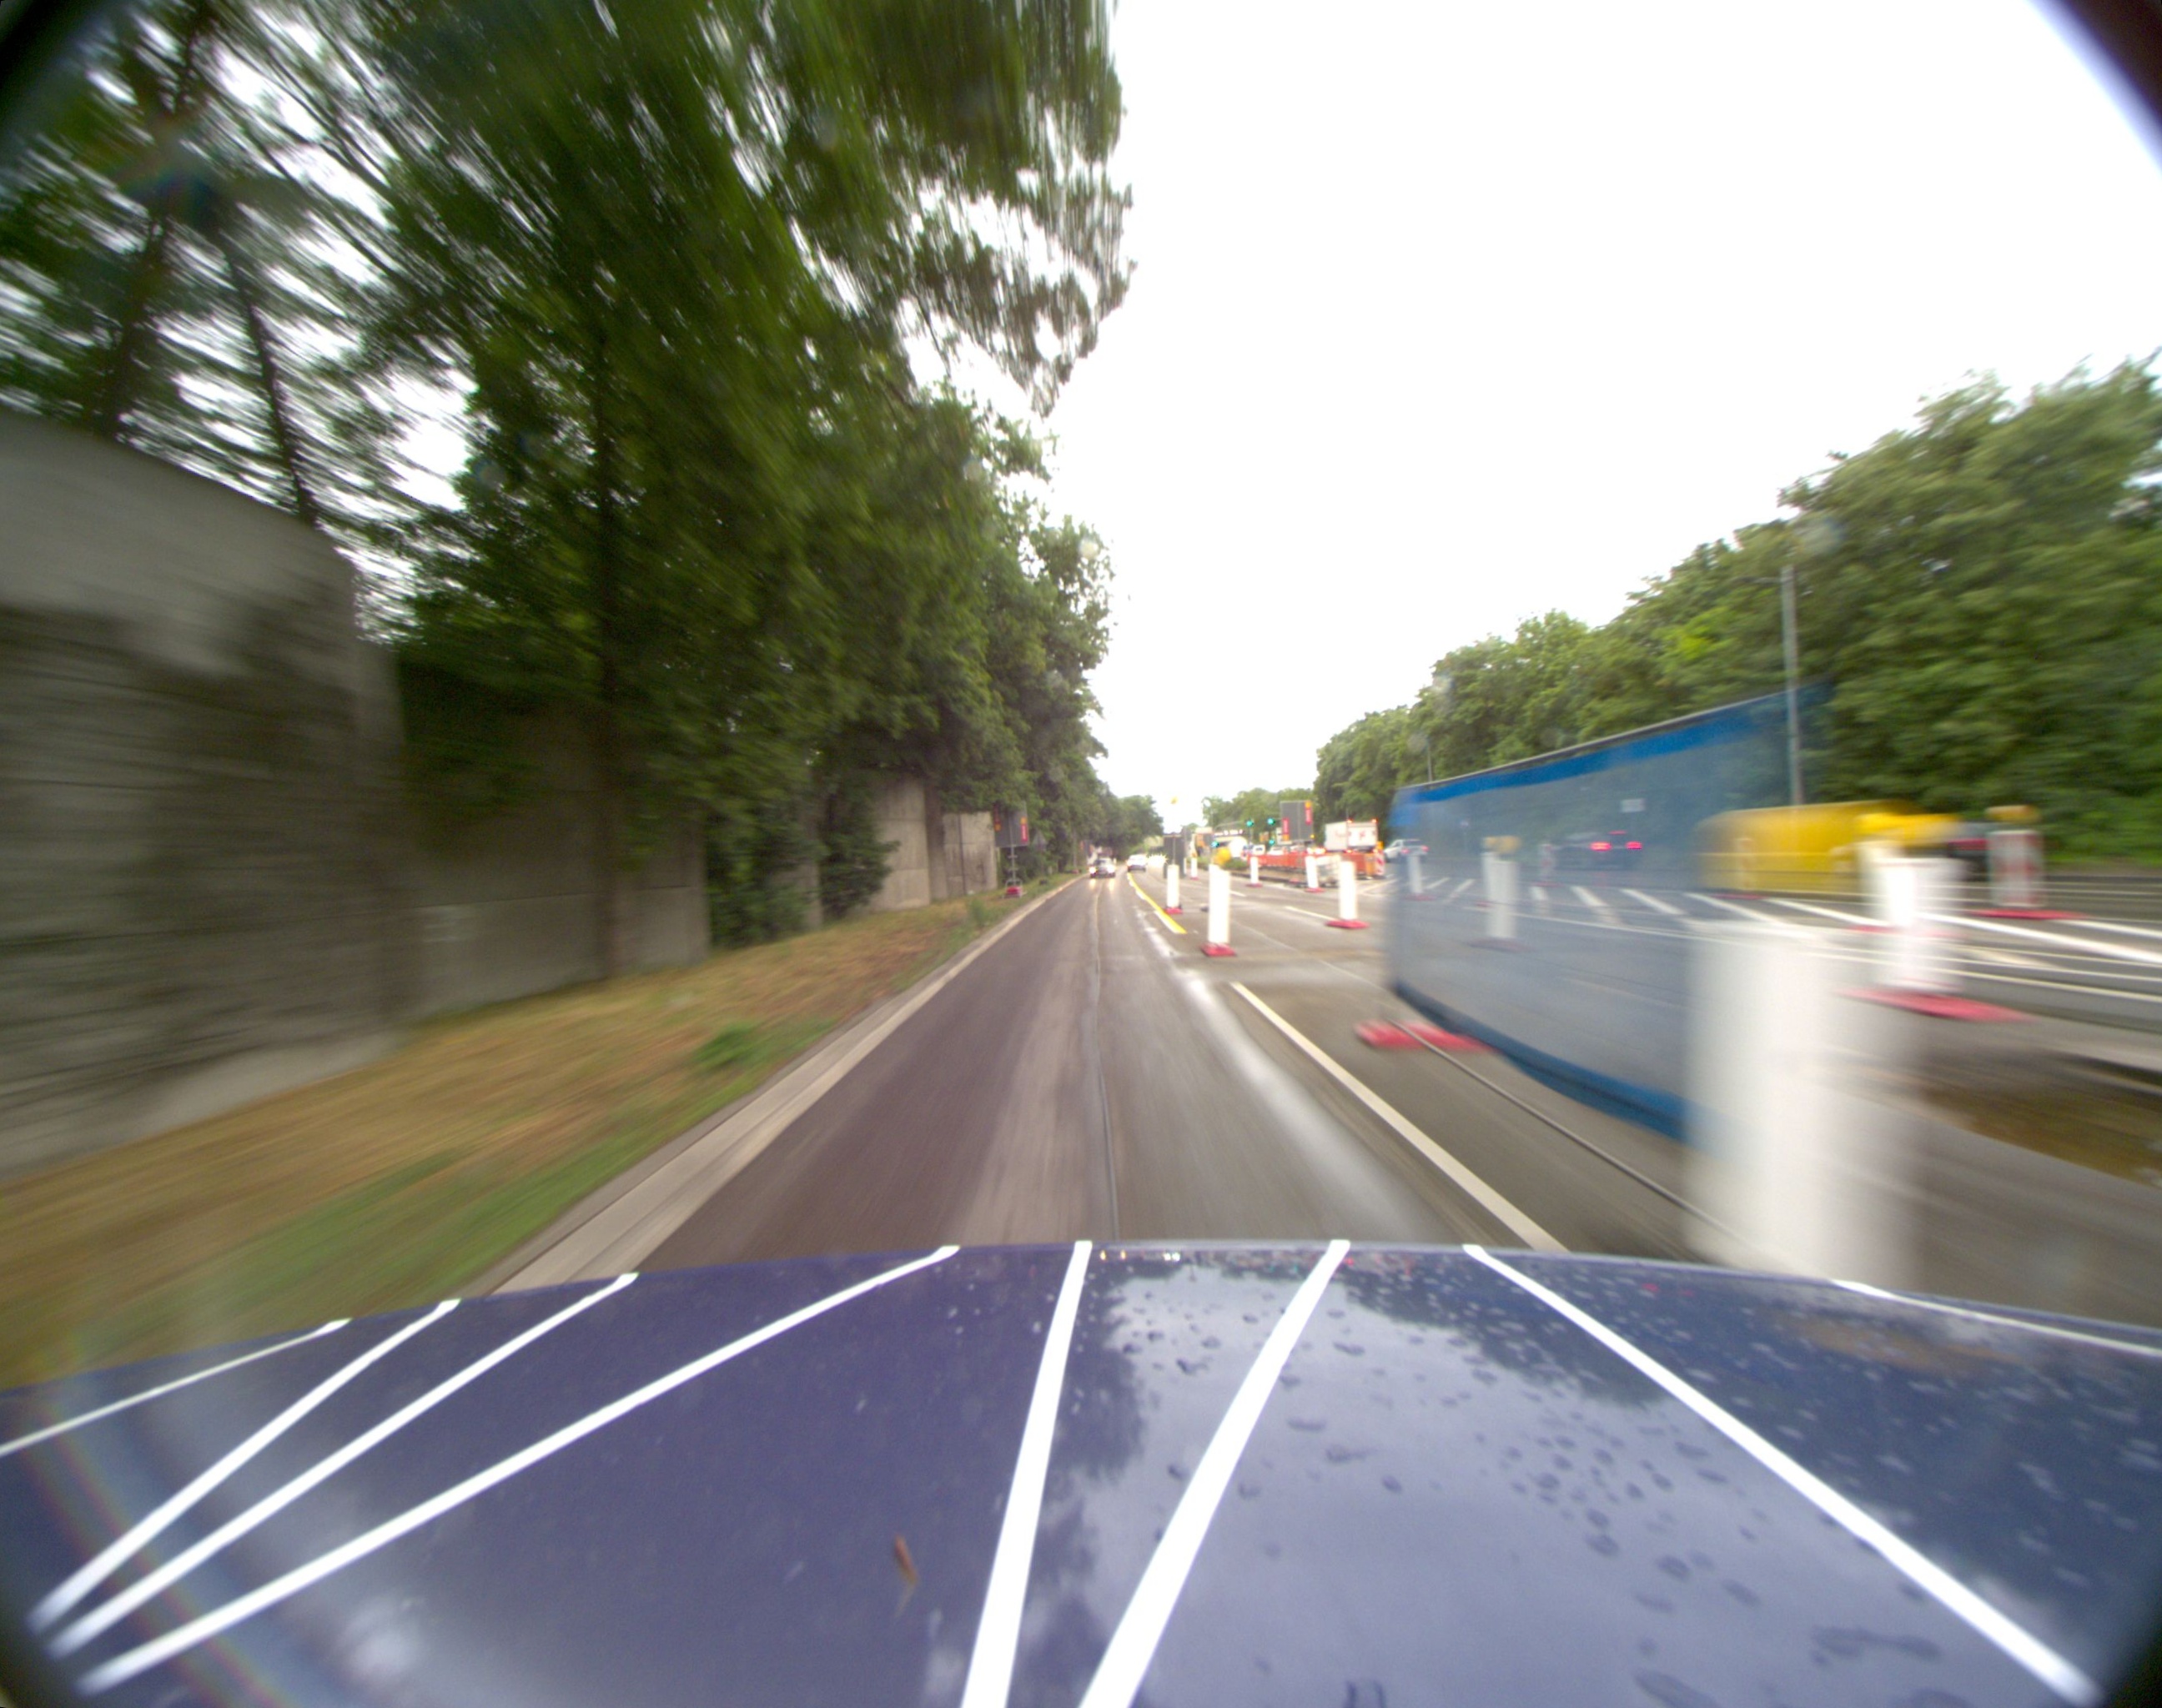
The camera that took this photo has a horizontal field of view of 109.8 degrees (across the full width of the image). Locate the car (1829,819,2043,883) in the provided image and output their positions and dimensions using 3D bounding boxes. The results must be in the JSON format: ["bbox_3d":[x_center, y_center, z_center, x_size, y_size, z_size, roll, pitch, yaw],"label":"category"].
[{"bbox_3d":[21.574,-0.075,19.391,1.529,1.449,3.539,-1,0,1],"label":"car"}]

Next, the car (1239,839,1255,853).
[{"bbox_3d":[31.404,-1.530,144.031,2.199,2.376,6.248,-4,-1,7],"label":"car"}]

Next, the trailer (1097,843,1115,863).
[{"bbox_3d":[4.880,-0.268,146.054,2.311,3.568,5.964,-2,1,12],"label":"trailer"}]

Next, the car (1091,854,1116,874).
[{"bbox_3d":[1.638,0.732,57.129,1.698,1.393,3.825,-3,0,0],"label":"car"}]

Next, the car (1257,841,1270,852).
[{"bbox_3d":[38.292,-1.512,159.482,2.039,1.962,4.993,-4,-1,7],"label":"car"}]

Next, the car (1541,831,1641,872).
[{"bbox_3d":[22.147,-0.091,33.195,1.639,1.637,4.199,-2,0,2],"label":"car"}]

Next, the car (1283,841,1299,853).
[{"bbox_3d":[30.152,-0.987,109.079,1.674,1.514,3.791,-4,0,8],"label":"car"}]

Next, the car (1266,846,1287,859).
[{"bbox_3d":[24.927,-0.166,97.005,1.839,1.541,4.041,-3,0,4],"label":"car"}]

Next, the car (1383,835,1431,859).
[{"bbox_3d":[24.560,-0.535,57.427,1.848,1.713,4.720,0,0,4],"label":"car"}]

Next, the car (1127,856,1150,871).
[{"bbox_3d":[5.644,0.947,74.550,1.696,1.300,3.828,-3,0,12],"label":"car"}]

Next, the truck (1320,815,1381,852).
[{"bbox_3d":[25.499,-1.808,72.464,2.802,3.130,10.150,-3,0,4],"label":"truck"}]

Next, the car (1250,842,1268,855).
[{"bbox_3d":[28.496,-0.848,121.811,1.918,1.770,4.835,-4,-1,4],"label":"car"}]

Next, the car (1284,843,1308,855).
[{"bbox_3d":[23.146,-0.573,81.786,1.609,1.145,4.284,-3,0,4],"label":"car"}]
